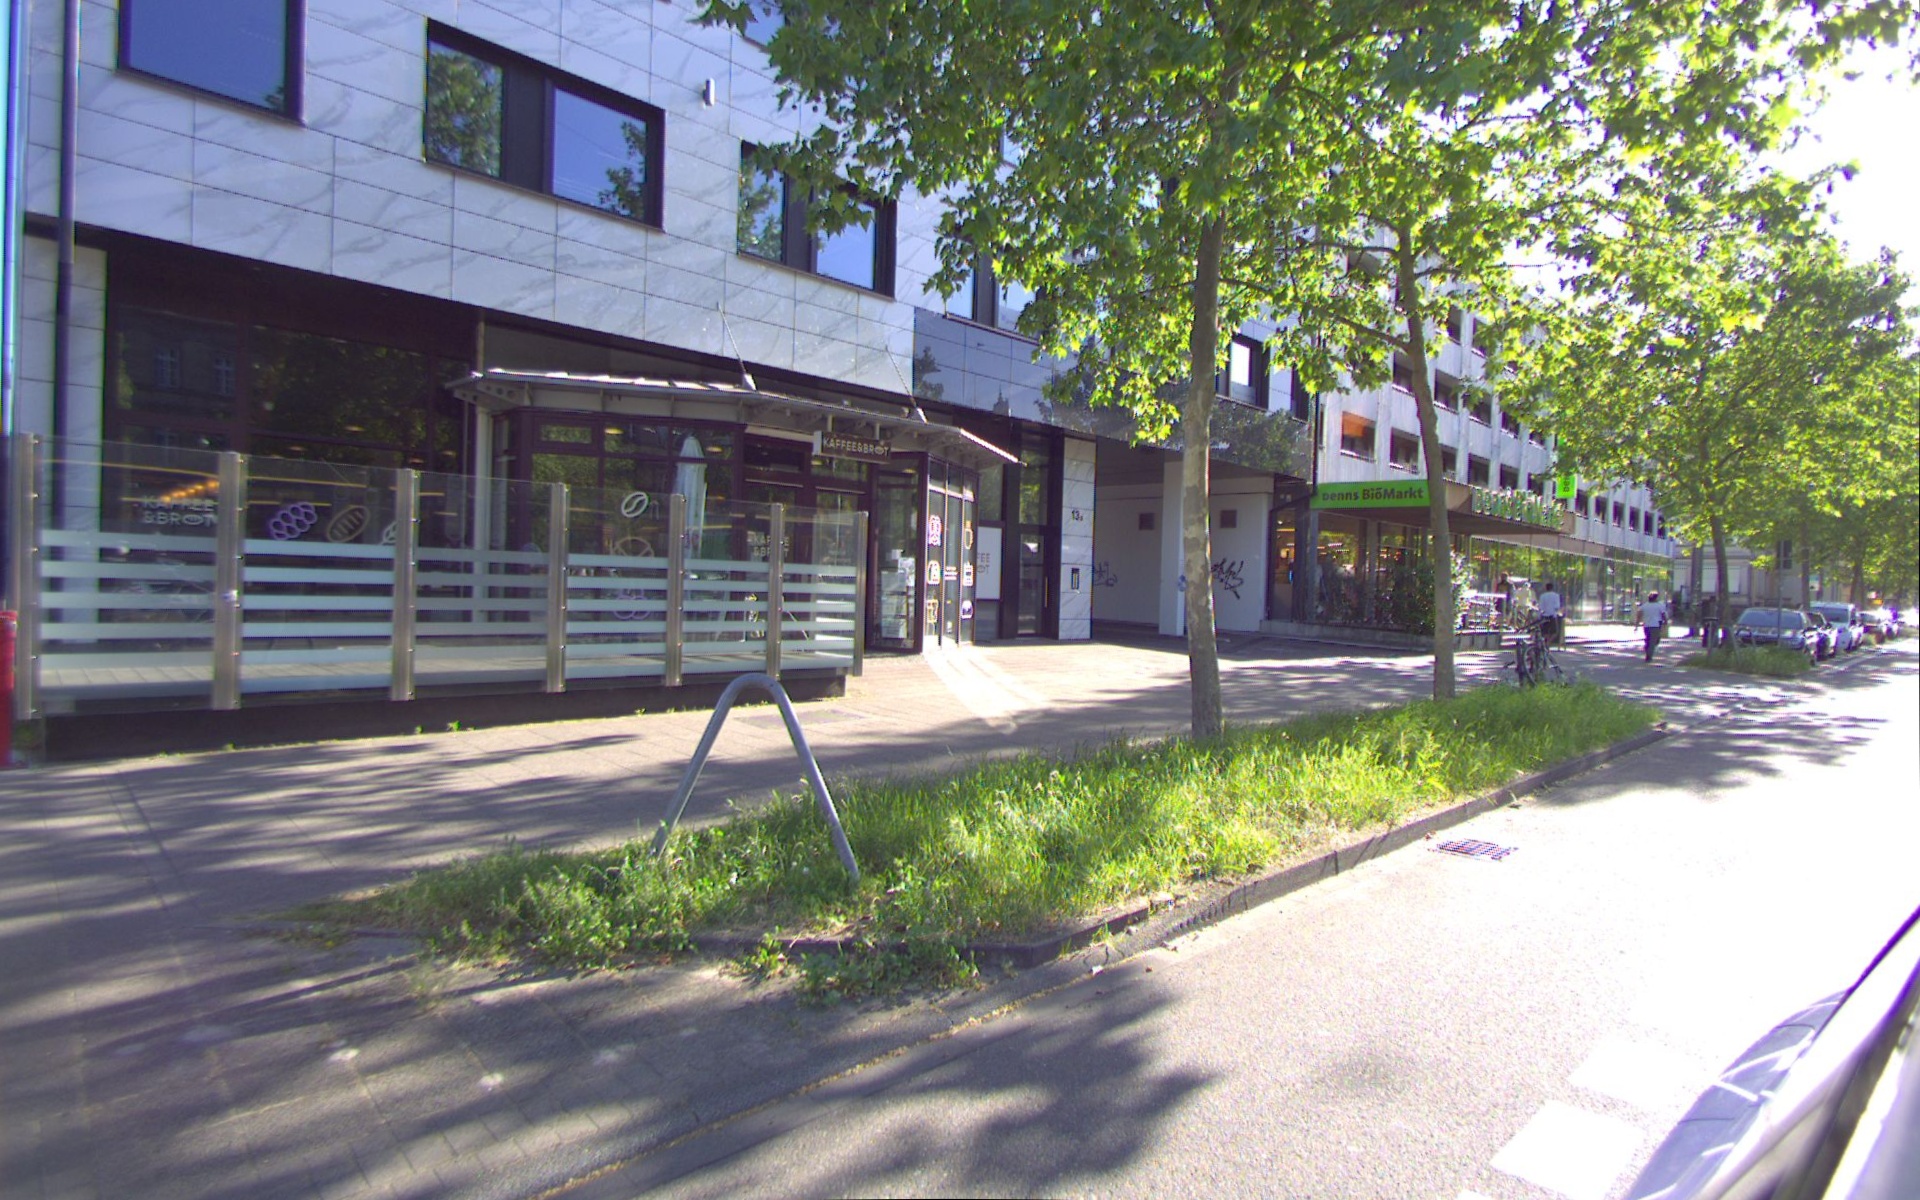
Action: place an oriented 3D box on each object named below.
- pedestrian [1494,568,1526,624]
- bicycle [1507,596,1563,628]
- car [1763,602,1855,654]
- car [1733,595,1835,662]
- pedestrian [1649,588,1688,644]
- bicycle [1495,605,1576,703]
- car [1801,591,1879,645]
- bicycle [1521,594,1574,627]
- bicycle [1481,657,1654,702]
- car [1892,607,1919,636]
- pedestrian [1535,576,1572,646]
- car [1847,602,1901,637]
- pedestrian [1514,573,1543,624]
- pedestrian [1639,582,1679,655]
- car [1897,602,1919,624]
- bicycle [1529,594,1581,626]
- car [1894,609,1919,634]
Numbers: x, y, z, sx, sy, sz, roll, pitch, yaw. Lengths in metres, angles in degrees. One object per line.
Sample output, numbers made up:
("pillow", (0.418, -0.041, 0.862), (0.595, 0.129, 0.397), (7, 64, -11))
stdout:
("pedestrian", (17.203, -0.123, 31.657), (0.868, 1.698, 0.558), (1, 3, -45))
("bicycle", (19.863, 0.401, 34.974), (0.573, 0.927, 1.656), (5, 2, -17))
("car", (26.086, 0.795, 31.028), (1.762, 1.436, 4.624), (1, 1, 45))
("car", (21.410, 0.685, 26.235), (3.933, 1.570, 1.566), (0, 1, -44))
("pedestrian", (21.323, 0.471, 30.457), (0.853, 1.632, 0.699), (1, 3, -42))
("bicycle", (7.538, 0.657, 13.227), (0.785, 1.147, 1.824), (2, 1, 33))
("car", (32.903, 0.648, 37.804), (4.320, 1.814, 1.766), (1, 2, -44))
("bicycle", (22.074, 0.378, 38.035), (0.573, 1.068, 1.710), (4, 2, -17))
("bicycle", (7.833, 1.003, 13.065), (1.366, 0.357, 1.610), (0, 2, -44))
("car", (51.855, 1.157, 54.935), (3.866, 1.459, 1.627), (0, 3, -45))
("pedestrian", (15.365, 0.274, 26.193), (0.864, 1.766, 0.560), (1, 2, -45))
("car", (43.866, 0.887, 48.553), (1.674, 1.455, 3.631), (6, 4, 44))
("pedestrian", (20.334, -0.046, 36.206), (0.607, 1.735, 0.609), (8, 4, 21))
("pedestrian", (16.969, 0.432, 24.554), (1.035, 1.725, 0.560), (1, 2, -45))
("car", (72.835, 1.002, 77.144), (4.203, 1.584, 1.836), (0, 1, -45))
("bicycle", (22.744, 0.375, 38.713), (0.573, 1.068, 1.710), (3, 3, -17))
("car", (55.351, 1.232, 58.503), (4.206, 1.399, 1.778), (0, 1, -45))
